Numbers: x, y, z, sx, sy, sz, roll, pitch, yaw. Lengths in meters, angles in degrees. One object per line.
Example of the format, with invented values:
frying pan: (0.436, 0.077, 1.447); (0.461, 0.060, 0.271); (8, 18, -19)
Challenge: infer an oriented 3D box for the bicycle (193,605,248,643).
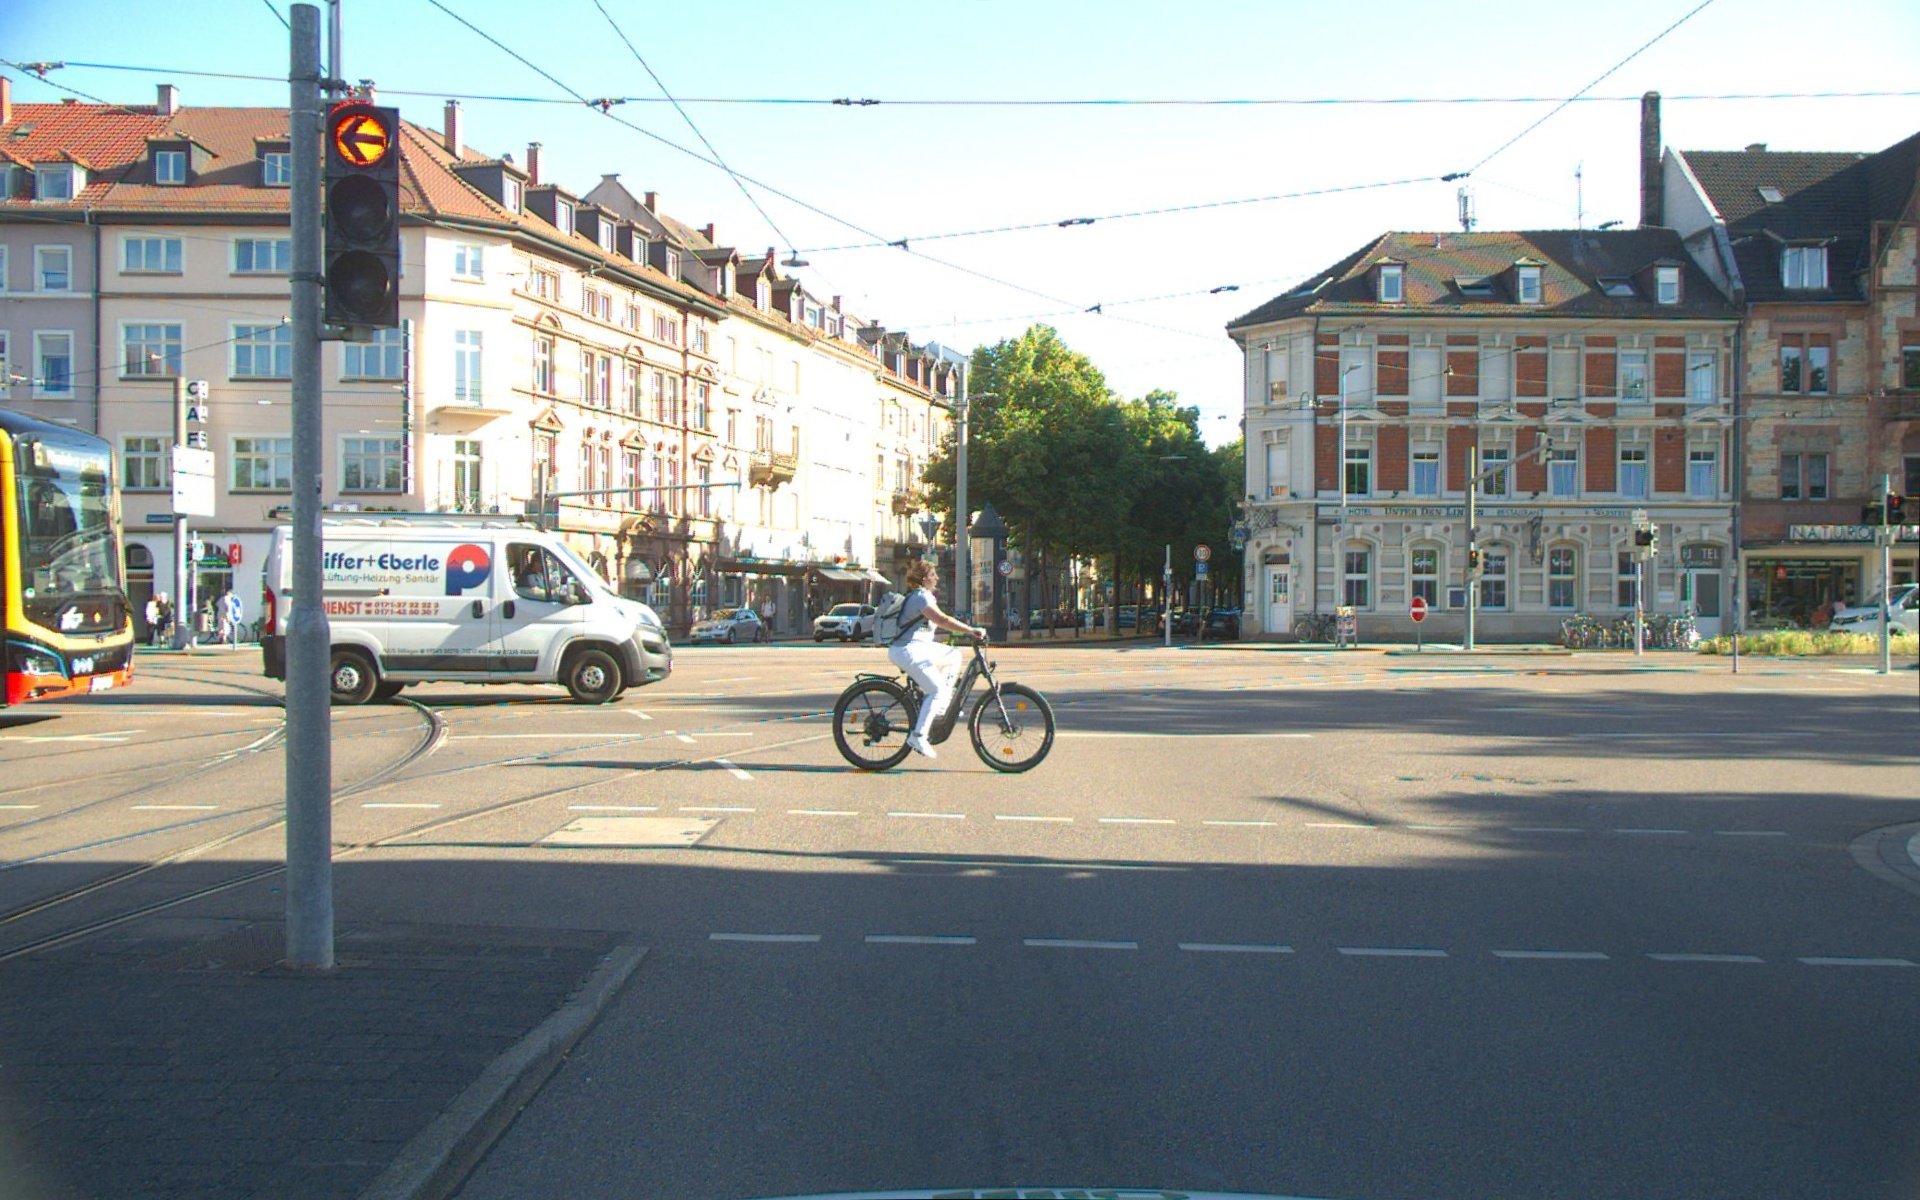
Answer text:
bicycle: (-25.141, 0.808, 56.232); (1.684, 1.299, 0.385); (0, 0, -18)

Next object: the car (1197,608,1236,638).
car: (12.850, 1.143, 82.701); (1.717, 1.445, 4.003); (0, 0, 12)

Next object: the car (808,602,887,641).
car: (-4.534, 0.846, 67.382); (1.951, 1.542, 4.172); (0, 0, 15)

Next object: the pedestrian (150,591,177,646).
pedestrian: (-24.955, 0.581, 51.829); (0.731, 1.711, 0.623); (0, 0, -26)

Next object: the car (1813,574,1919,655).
car: (24.997, 0.355, 42.759); (4.879, 2.049, 2.000); (0, 0, -1)

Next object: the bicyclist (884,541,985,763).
bicyclist: (-0.214, 0.405, 13.353); (0.782, 1.745, 0.733); (0, 0, -3)

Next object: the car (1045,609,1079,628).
car: (8.138, 1.433, 131.503); (1.951, 1.429, 4.172); (0, 0, 15)

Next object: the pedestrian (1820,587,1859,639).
pedestrian: (30.244, 0.446, 56.859); (1.013, 1.741, 0.630); (1, -1, 8)

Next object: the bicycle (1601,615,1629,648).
bicycle: (21.160, 1.003, 53.480); (0.476, 1.038, 1.785); (0, 0, 9)

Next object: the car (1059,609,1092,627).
car: (9.568, 1.480, 136.721); (1.951, 1.429, 4.172); (0, 0, 15)

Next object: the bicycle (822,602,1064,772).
bicycle: (-0.145, 0.690, 13.388); (1.901, 1.321, 0.623); (1, 0, -3)

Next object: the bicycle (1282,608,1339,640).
bicycle: (12.173, 0.829, 57.509); (1.911, 1.072, 0.716); (0, 0, 9)

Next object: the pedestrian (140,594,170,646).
pedestrian: (-26.797, 0.663, 55.046); (0.613, 1.711, 0.743); (0, 0, 2)

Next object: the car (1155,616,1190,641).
car: (11.921, 1.558, 92.488); (1.680, 1.323, 4.077); (0, 0, 11)

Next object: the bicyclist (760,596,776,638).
bicyclist: (-7.550, 0.652, 65.063); (0.479, 1.629, 0.667); (0, 0, 9)

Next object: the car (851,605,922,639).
car: (-3.229, 0.952, 73.574); (1.951, 1.429, 4.172); (0, 0, 15)

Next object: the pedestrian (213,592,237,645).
pedestrian: (-24.300, 0.603, 54.669); (0.731, 1.711, 0.623); (0, 0, -26)

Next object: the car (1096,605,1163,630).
car: (10.246, 1.039, 99.819); (3.902, 1.480, 1.683); (0, 0, 10)

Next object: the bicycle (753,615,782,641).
bicycle: (-7.559, 1.097, 65.162); (0.641, 1.018, 1.666); (1, 0, 11)

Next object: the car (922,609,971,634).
car: (-0.822, 1.317, 102.052); (1.951, 1.429, 4.172); (0, 0, 15)

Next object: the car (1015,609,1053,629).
car: (5.471, 1.378, 122.635); (1.951, 1.429, 4.172); (0, 0, 15)

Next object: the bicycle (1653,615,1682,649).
bicycle: (22.902, 1.034, 53.556); (0.476, 1.038, 1.785); (0, 0, 9)

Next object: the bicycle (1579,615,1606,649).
bicycle: (20.470, 1.024, 53.571); (0.476, 1.038, 1.785); (0, 0, 9)

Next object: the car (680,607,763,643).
car: (-9.602, 0.983, 66.876); (1.951, 1.385, 3.821); (0, 0, 15)

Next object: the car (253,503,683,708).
car: (-6.164, 0.053, 21.316); (5.015, 2.475, 2.077); (0, 0, -8)

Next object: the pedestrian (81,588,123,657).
pedestrian: (-21.385, 0.553, 41.230); (0.725, 1.711, 0.628); (0, 0, -1)

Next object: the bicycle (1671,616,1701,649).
bicycle: (23.587, 1.047, 53.738); (0.476, 1.038, 1.785); (0, 0, 9)

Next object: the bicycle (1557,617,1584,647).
bicycle: (19.801, 1.017, 53.648); (0.476, 0.930, 1.785); (0, 0, 9)

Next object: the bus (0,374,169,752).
bus: (-13.178, -0.448, 16.284); (9.233, 3.517, 2.776); (1, 1, -7)

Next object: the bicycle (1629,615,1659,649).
bicycle: (22.107, 1.020, 53.476); (0.476, 1.038, 1.785); (0, 0, 9)

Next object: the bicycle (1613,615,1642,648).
bicycle: (21.609, 1.011, 53.548); (0.476, 1.038, 1.785); (0, 0, 9)

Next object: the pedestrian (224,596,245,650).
pedestrian: (-17.319, 0.540, 39.483); (0.358, 1.275, 0.449); (0, 0, -12)
